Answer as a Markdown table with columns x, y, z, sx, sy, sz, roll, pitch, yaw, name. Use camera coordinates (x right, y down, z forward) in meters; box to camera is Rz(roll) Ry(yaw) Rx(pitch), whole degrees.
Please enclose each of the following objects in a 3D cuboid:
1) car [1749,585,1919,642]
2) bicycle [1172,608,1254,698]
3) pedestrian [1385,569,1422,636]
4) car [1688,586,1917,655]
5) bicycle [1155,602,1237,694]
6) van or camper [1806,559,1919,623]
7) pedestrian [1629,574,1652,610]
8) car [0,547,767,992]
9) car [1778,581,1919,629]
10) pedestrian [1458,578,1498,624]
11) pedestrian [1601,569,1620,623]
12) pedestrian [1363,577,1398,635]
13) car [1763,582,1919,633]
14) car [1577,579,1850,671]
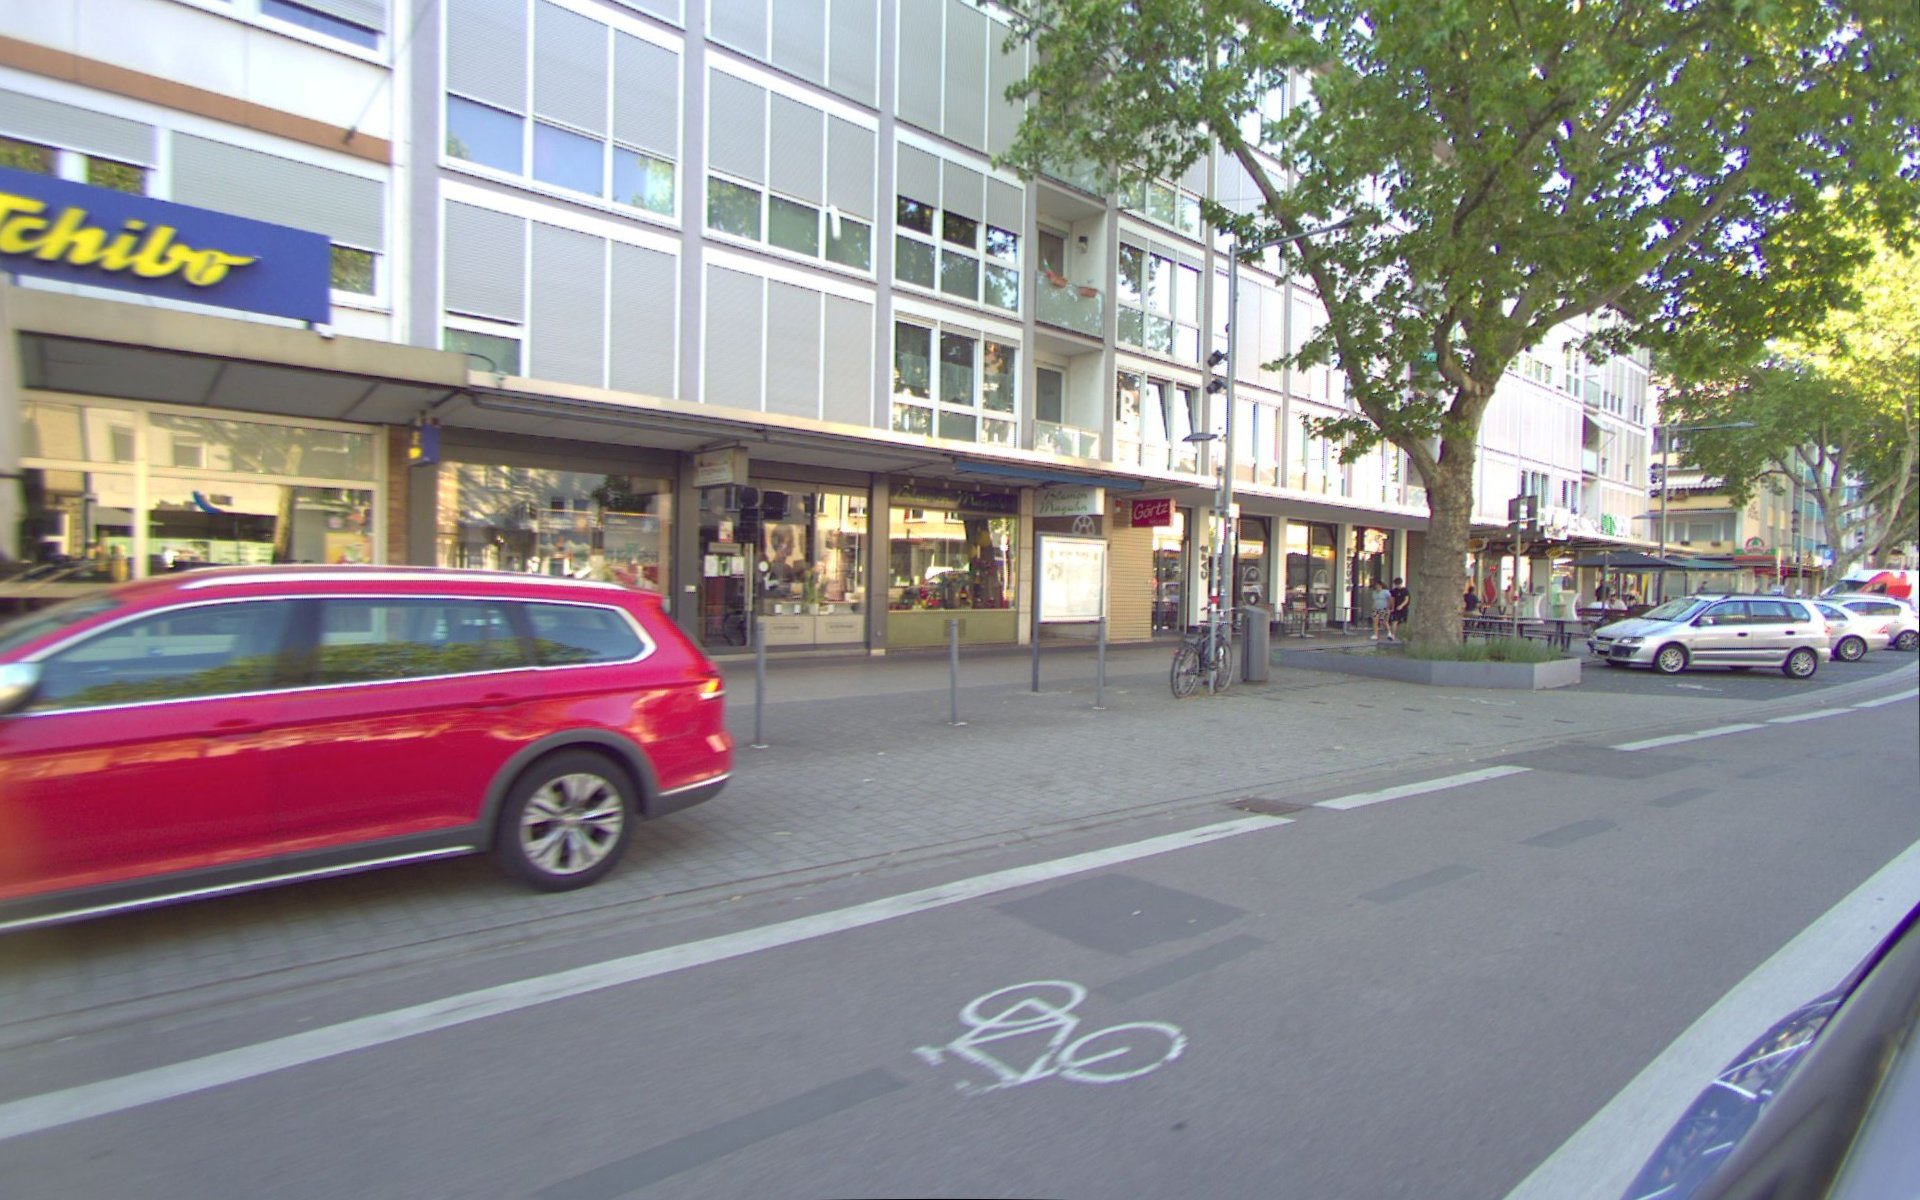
| x | y | z | sx | sy | sz | roll | pitch | yaw | name |
| --- | --- | --- | --- | --- | --- | --- | --- | --- | --- |
| 25.485 | 0.373 | 29.195 | 3.934 | 1.454 | 1.656 | 1 | 3 | 9 | car |
| 3.307 | 0.656 | 13.133 | 0.293 | 1.053 | 1.694 | 5 | 4 | 38 | bicycle |
| 10.999 | 0.054 | 25.079 | 0.675 | 1.611 | 0.538 | 0 | 3 | -42 | pedestrian |
| 20.235 | 0.457 | 24.450 | 3.930 | 1.454 | 1.658 | 1 | 2 | 5 | car |
| 3.137 | 0.601 | 13.369 | 0.293 | 1.114 | 1.694 | 5 | 4 | 38 | bicycle |
| 37.806 | -0.370 | 40.764 | 5.372 | 2.500 | 1.995 | 1 | 1 | 9 | van or camper |
| 30.621 | -0.366 | 45.546 | 0.529 | 1.610 | 0.686 | 2 | 3 | 5 | pedestrian |
| -3.326 | 0.555 | 4.683 | 4.488 | 1.514 | 1.782 | 0 | 3 | -41 | car |
| 32.087 | 0.160 | 36.266 | 3.934 | 1.582 | 1.656 | 1 | 2 | 9 | car |
| 16.045 | 0.020 | 31.367 | 0.944 | 1.379 | 0.750 | 0 | 1 | -37 | pedestrian |
| 24.620 | -0.145 | 38.288 | 0.548 | 2.039 | 0.570 | -1 | -1 | 34 | pedestrian |
| 10.623 | 0.144 | 25.565 | 0.675 | 1.417 | 0.538 | 0 | 3 | -42 | pedestrian |
| 29.802 | 0.238 | 34.084 | 3.934 | 1.541 | 1.656 | 1 | 2 | 9 | car |
| 14.674 | 0.453 | 19.876 | 3.925 | 1.626 | 1.809 | 1 | 1 | 1 | car |
